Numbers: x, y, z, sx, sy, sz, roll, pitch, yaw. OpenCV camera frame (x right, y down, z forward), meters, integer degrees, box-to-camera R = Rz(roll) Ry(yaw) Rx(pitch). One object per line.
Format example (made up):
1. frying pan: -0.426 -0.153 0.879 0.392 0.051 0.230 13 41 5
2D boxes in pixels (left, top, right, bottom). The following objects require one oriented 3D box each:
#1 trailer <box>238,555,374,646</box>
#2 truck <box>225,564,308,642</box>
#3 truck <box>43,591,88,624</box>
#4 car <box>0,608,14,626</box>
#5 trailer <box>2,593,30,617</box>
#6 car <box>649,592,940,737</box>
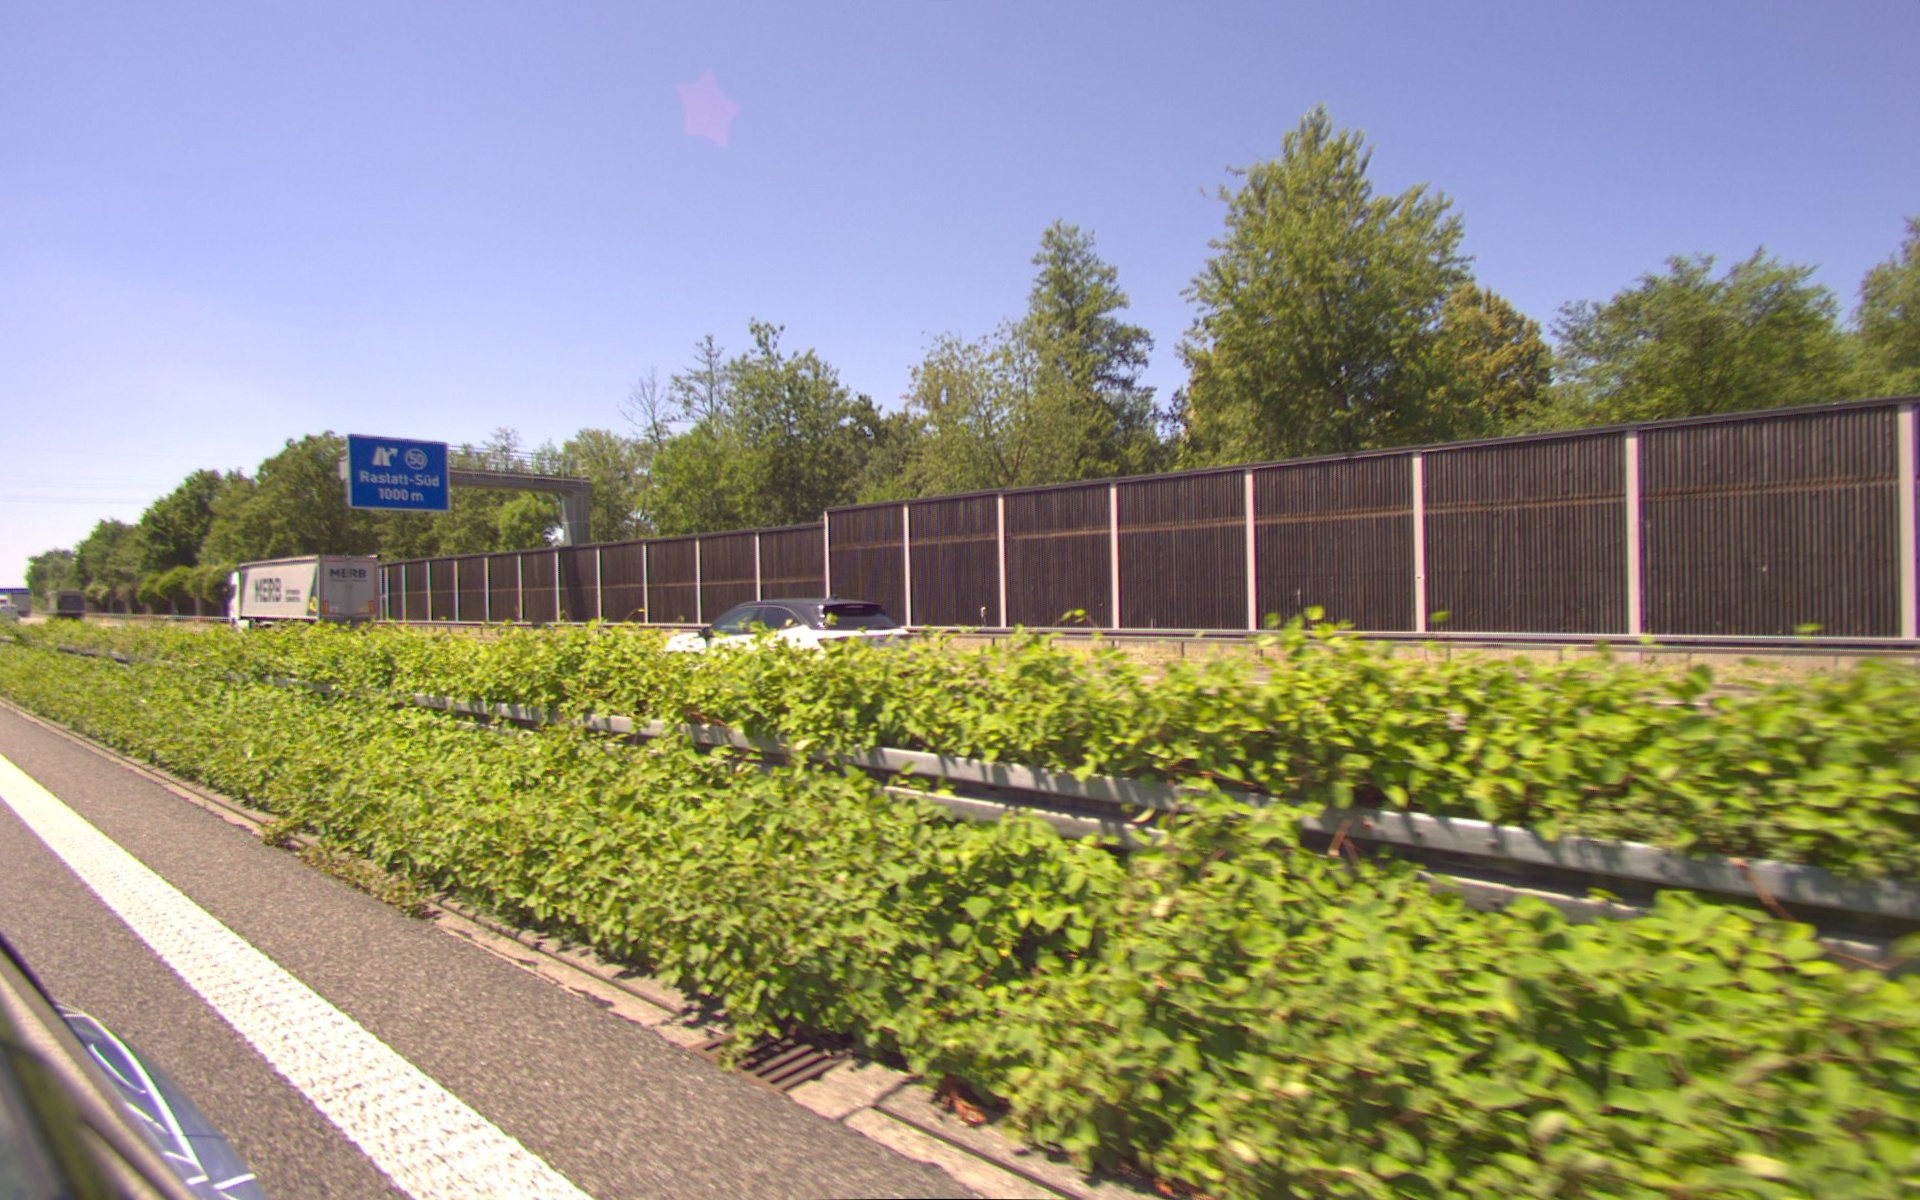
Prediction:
1. trailer: -33.830 0.099 51.990 13.651 4.167 2.458 -1 -1 42
2. truck: -38.841 0.183 56.595 6.370 4.097 2.493 -1 -1 43
3. truck: -102.571 0.837 116.022 9.950 3.632 2.839 -1 -1 43
4. car: -111.061 1.967 117.171 5.102 2.029 1.972 -1 -1 43
5. trailer: -161.450 0.930 173.018 13.761 3.939 2.699 -1 -1 43
6. car: -2.254 0.737 13.106 3.999 1.600 1.566 -1 -1 42
